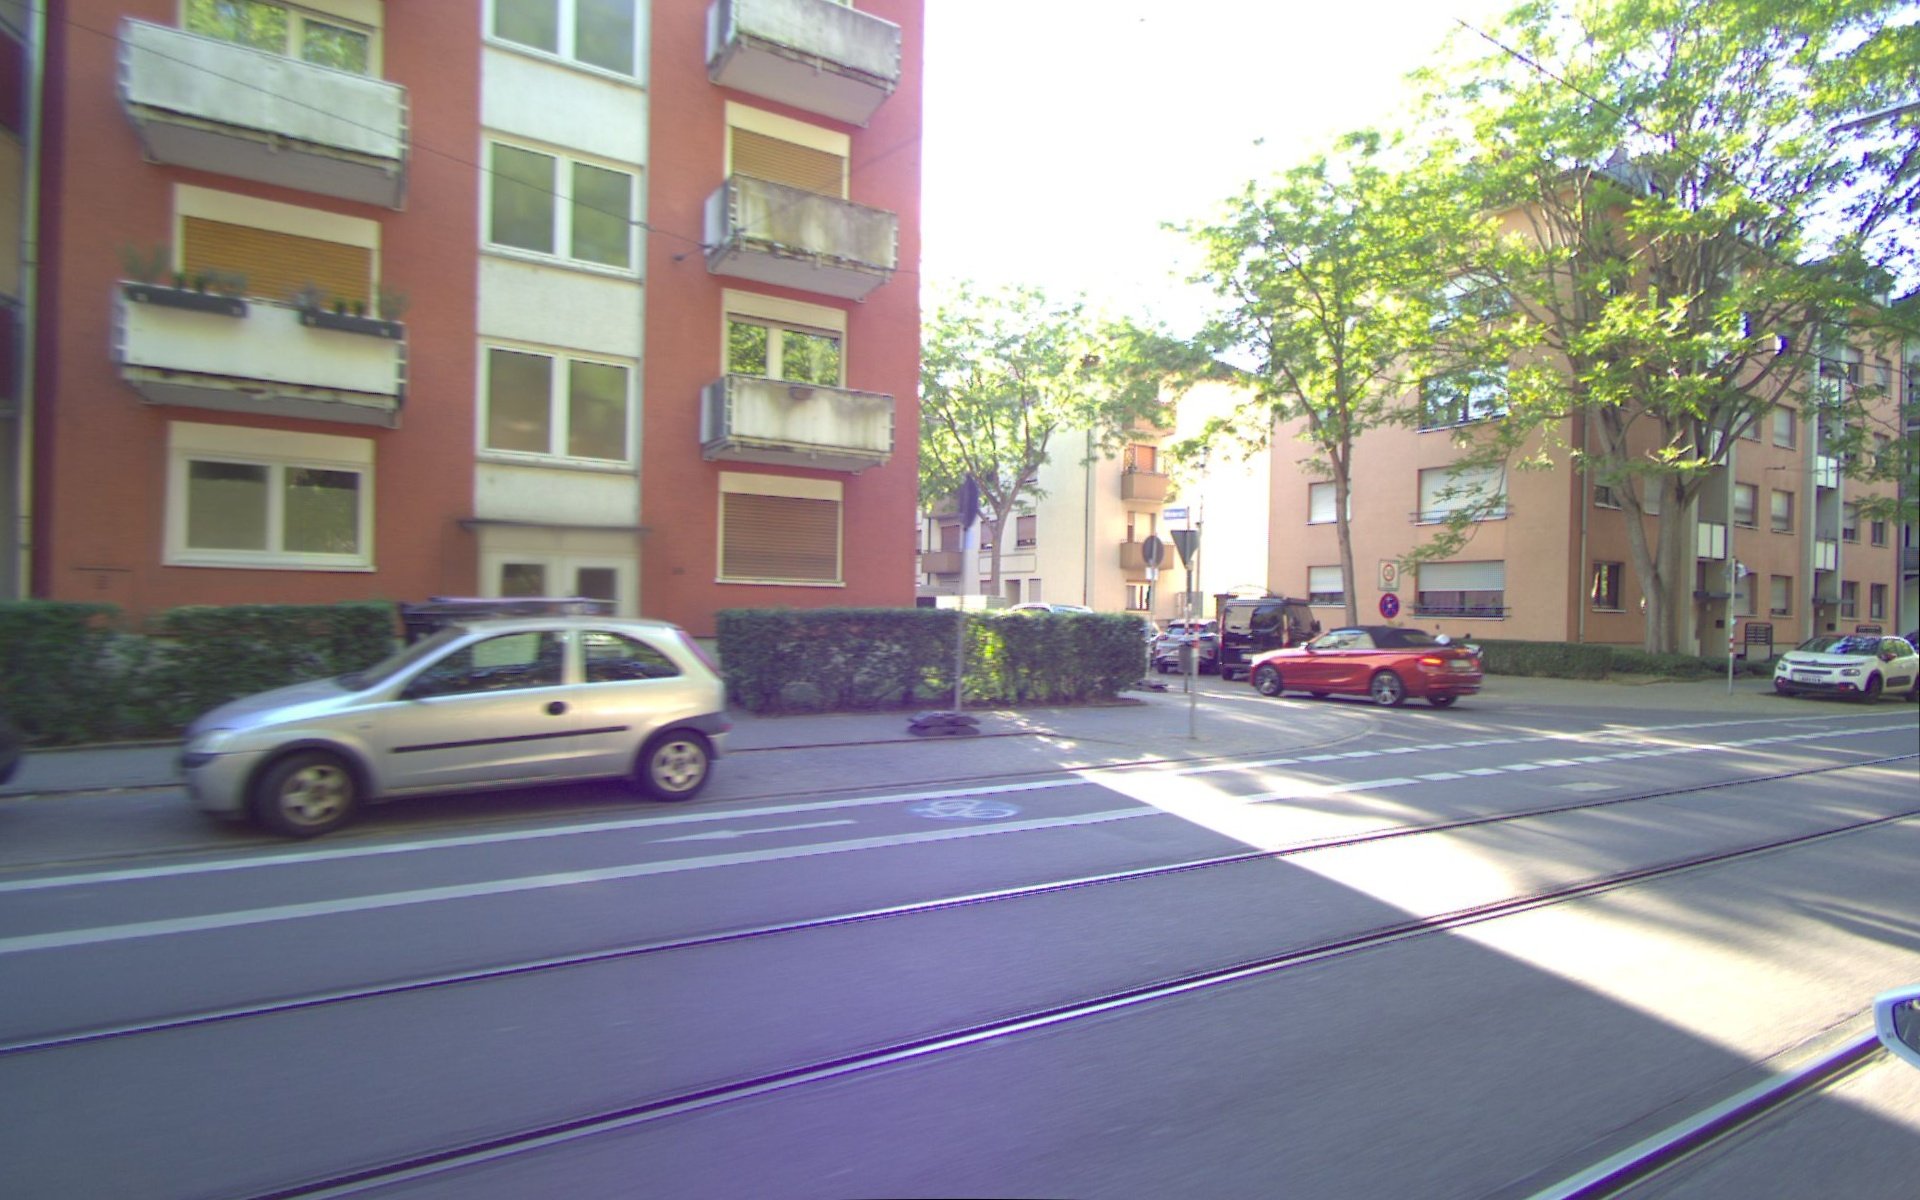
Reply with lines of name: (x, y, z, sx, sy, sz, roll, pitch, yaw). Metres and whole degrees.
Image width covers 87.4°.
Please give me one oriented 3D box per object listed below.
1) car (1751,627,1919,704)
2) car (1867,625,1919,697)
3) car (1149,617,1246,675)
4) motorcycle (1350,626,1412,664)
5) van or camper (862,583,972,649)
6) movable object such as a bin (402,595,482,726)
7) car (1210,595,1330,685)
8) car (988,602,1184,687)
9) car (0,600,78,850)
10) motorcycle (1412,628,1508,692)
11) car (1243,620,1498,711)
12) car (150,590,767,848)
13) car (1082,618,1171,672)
car: (19.908, 1.449, 22.682, 4.041, 1.498, 1.797, 2, 1, -30)
car: (24.772, 1.539, 25.189, 4.537, 1.632, 1.771, 1, 2, -32)
car: (6.982, 1.294, 29.303, 1.723, 1.538, 3.608, 1, -1, 31)
motorcycle: (13.067, 1.391, 31.168, 2.043, 1.144, 0.691, 2, -1, -31)
van or camper: (-1.755, 0.698, 43.241, 2.216, 2.664, 5.540, 1, -1, 28)
movable object such as a bin: (-5.820, 0.648, 11.277, 0.738, 1.383, 1.206, 1, -1, -29)
car: (8.410, 1.028, 26.926, 1.965, 2.151, 4.713, 2, 0, 31)
car: (2.619, 0.922, 22.057, 1.915, 1.627, 4.512, 3, -1, -30)
car: (-8.091, 0.703, 5.322, 4.805, 1.414, 1.943, 2, 2, -30)
motorcycle: (11.266, 1.322, 22.618, 2.323, 1.298, 0.897, -1, 1, -33)
car: (7.494, 1.152, 18.754, 1.777, 1.407, 4.202, 3, -1, -30)
car: (-3.675, 0.761, 7.833, 3.886, 1.503, 1.715, 2, 2, -32)
car: (5.247, 1.365, 31.325, 1.606, 1.564, 3.312, 1, -1, 31)
